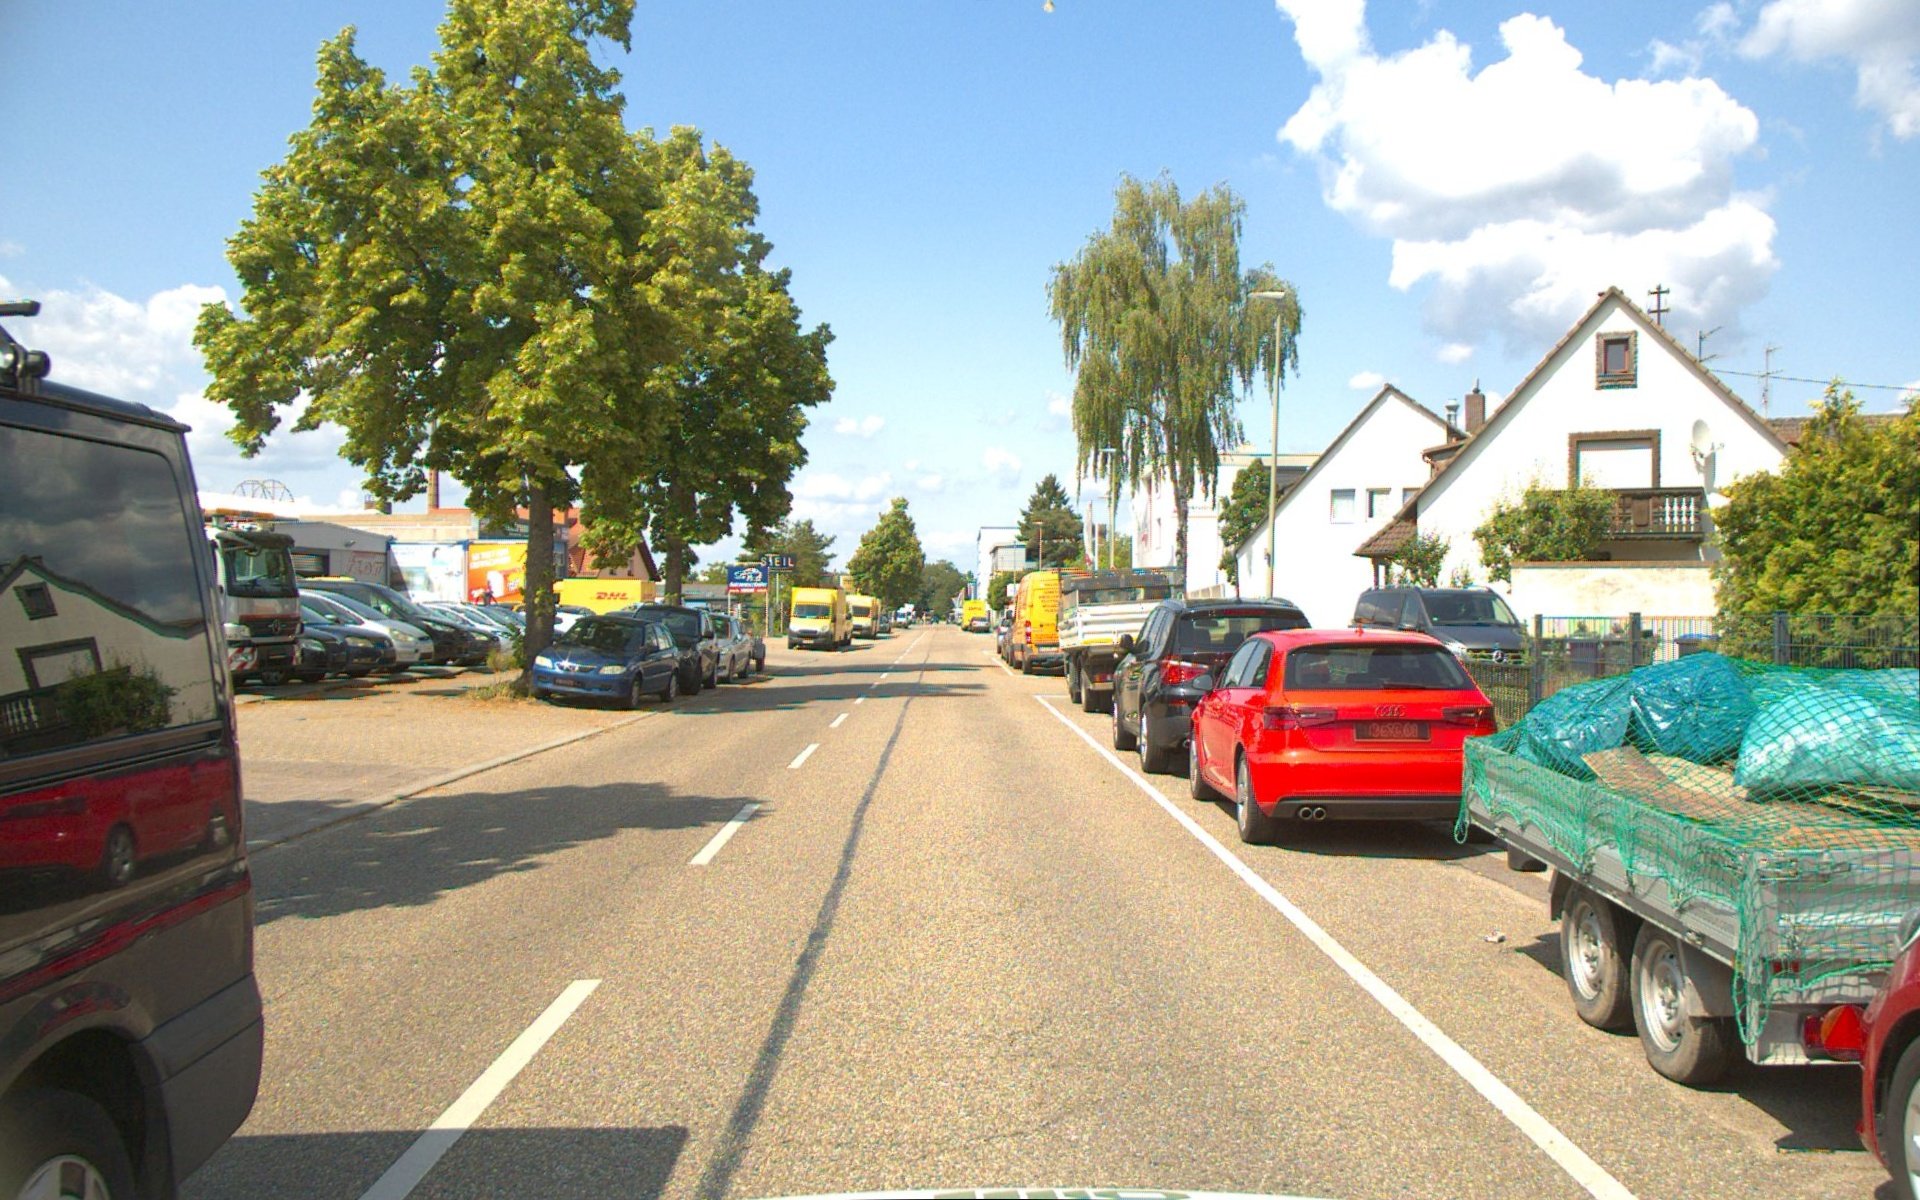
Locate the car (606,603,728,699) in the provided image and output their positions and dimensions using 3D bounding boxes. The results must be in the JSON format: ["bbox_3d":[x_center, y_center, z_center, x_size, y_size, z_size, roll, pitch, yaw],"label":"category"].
[{"bbox_3d":[-5.805,0.973,33.231,1.659,1.730,4.399,3,0,-1],"label":"car"}]

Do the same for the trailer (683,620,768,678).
[{"bbox_3d":[-6.103,1.247,43.486,1.726,1.312,4.505,4,0,-3],"label":"trailer"}]

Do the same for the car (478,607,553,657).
[{"bbox_3d":[-15.567,1.107,58.093,1.412,1.685,3.303,0,-1,7],"label":"car"}]

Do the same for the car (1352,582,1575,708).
[{"bbox_3d":[8.239,0.702,27.597,1.820,1.898,5.015,0,0,-5],"label":"car"}]

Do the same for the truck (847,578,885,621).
[{"bbox_3d":[-6.815,0.013,120.574,2.269,2.912,7.102,3,-1,-1],"label":"truck"}]

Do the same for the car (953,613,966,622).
[{"bbox_3d":[-0.128,2.722,253.737,1.889,1.333,3.999,0,0,-1],"label":"car"}]

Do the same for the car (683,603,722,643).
[{"bbox_3d":[-12.325,1.085,79.223,1.795,1.735,4.698,0,1,-9],"label":"car"}]

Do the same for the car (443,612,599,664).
[{"bbox_3d":[-12.650,1.086,47.840,3.942,1.398,1.828,1,-1,4],"label":"car"}]

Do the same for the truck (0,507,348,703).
[{"bbox_3d":[-14.701,0.095,26.172,9.064,2.906,2.722,0,0,4],"label":"truck"}]

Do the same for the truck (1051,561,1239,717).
[{"bbox_3d":[2.949,0.615,27.857,2.470,2.340,5.894,0,-1,0],"label":"truck"}]

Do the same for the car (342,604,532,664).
[{"bbox_3d":[-12.793,0.837,40.623,4.058,1.456,1.827,0,-1,2],"label":"car"}]

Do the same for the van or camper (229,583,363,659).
[{"bbox_3d":[-23.079,0.667,57.742,1.951,2.518,5.365,0,0,7],"label":"van or camper"}]

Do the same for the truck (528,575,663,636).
[{"bbox_3d":[-19.426,0.290,88.250,6.457,2.900,2.531,2,0,12],"label":"truck"}]

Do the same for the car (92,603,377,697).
[{"bbox_3d":[-12.360,0.834,28.337,4.110,1.485,1.678,-1,0,1],"label":"car"}]

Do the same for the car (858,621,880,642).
[{"bbox_3d":[-7.576,2.629,138.626,1.690,1.632,4.412,3,-1,-2],"label":"car"}]

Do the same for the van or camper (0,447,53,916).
[{"bbox_3d":[-5.851,0.331,5.642,1.952,2.357,5.935,3,-1,2],"label":"van or camper"}]

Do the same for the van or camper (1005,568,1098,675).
[{"bbox_3d":[2.408,0.571,44.984,1.953,2.711,5.766,0,0,-2],"label":"van or camper"}]

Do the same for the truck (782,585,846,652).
[{"bbox_3d":[-6.727,0.860,77.062,2.175,2.907,7.069,2,0,1],"label":"truck"}]

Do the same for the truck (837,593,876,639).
[{"bbox_3d":[-6.874,1.114,110.492,2.223,2.905,7.171,2,-1,-1],"label":"truck"}]

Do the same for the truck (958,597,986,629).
[{"bbox_3d":[1.141,1.301,160.988,2.424,2.992,7.185,2,-1,-2],"label":"truck"}]

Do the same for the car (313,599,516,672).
[{"bbox_3d":[-12.584,0.830,38.342,4.058,1.647,1.827,0,-1,2],"label":"car"}]

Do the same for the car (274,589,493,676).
[{"bbox_3d":[-12.420,0.710,35.799,4.058,1.819,1.827,0,-1,2],"label":"car"}]

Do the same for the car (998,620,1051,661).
[{"bbox_3d":[2.249,1.415,58.565,1.635,1.358,4.437,1,0,-1],"label":"car"}]

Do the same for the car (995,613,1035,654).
[{"bbox_3d":[2.255,1.349,68.548,1.577,1.608,4.000,2,-1,1],"label":"car"}]

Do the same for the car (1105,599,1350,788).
[{"bbox_3d":[2.629,0.867,17.280,1.792,1.691,4.553,1,-1,0],"label":"car"}]

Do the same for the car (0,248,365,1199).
[{"bbox_3d":[-2.490,0.493,1.586,2.009,2.070,5.140,-1,-1,-1],"label":"car"}]

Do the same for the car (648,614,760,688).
[{"bbox_3d":[-5.879,1.141,38.439,1.795,1.555,4.237,2,0,1],"label":"car"}]

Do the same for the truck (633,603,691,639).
[{"bbox_3d":[-21.521,1.507,119.604,2.065,2.531,5.725,0,0,13],"label":"truck"}]

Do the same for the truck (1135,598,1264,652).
[{"bbox_3d":[11.824,1.223,81.521,5.967,2.622,2.544,1,0,-27],"label":"truck"}]

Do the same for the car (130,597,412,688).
[{"bbox_3d":[-12.683,0.759,30.625,4.431,1.610,1.827,0,0,1],"label":"car"}]

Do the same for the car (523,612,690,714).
[{"bbox_3d":[-5.897,1.002,28.091,1.664,1.509,4.160,2,0,3],"label":"car"}]

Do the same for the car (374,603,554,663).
[{"bbox_3d":[-12.826,0.862,42.926,4.058,1.516,1.827,0,-1,2],"label":"car"}]

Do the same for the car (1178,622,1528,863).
[{"bbox_3d":[2.729,0.918,12.392,1.650,1.460,4.146,1,-1,0],"label":"car"}]

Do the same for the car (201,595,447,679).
[{"bbox_3d":[-12.640,0.716,33.054,4.208,1.643,1.826,0,0,-2],"label":"car"}]

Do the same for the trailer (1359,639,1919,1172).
[{"bbox_3d":[2.998,0.907,6.809,1.575,1.402,4.431,1,-1,-1],"label":"trailer"}]

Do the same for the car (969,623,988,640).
[{"bbox_3d":[1.647,2.814,149.176,1.618,1.411,4.422,1,0,-1],"label":"car"}]

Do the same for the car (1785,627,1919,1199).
[{"bbox_3d":[3.168,0.809,2.170,1.657,1.488,4.753,1,-1,-2],"label":"car"}]
